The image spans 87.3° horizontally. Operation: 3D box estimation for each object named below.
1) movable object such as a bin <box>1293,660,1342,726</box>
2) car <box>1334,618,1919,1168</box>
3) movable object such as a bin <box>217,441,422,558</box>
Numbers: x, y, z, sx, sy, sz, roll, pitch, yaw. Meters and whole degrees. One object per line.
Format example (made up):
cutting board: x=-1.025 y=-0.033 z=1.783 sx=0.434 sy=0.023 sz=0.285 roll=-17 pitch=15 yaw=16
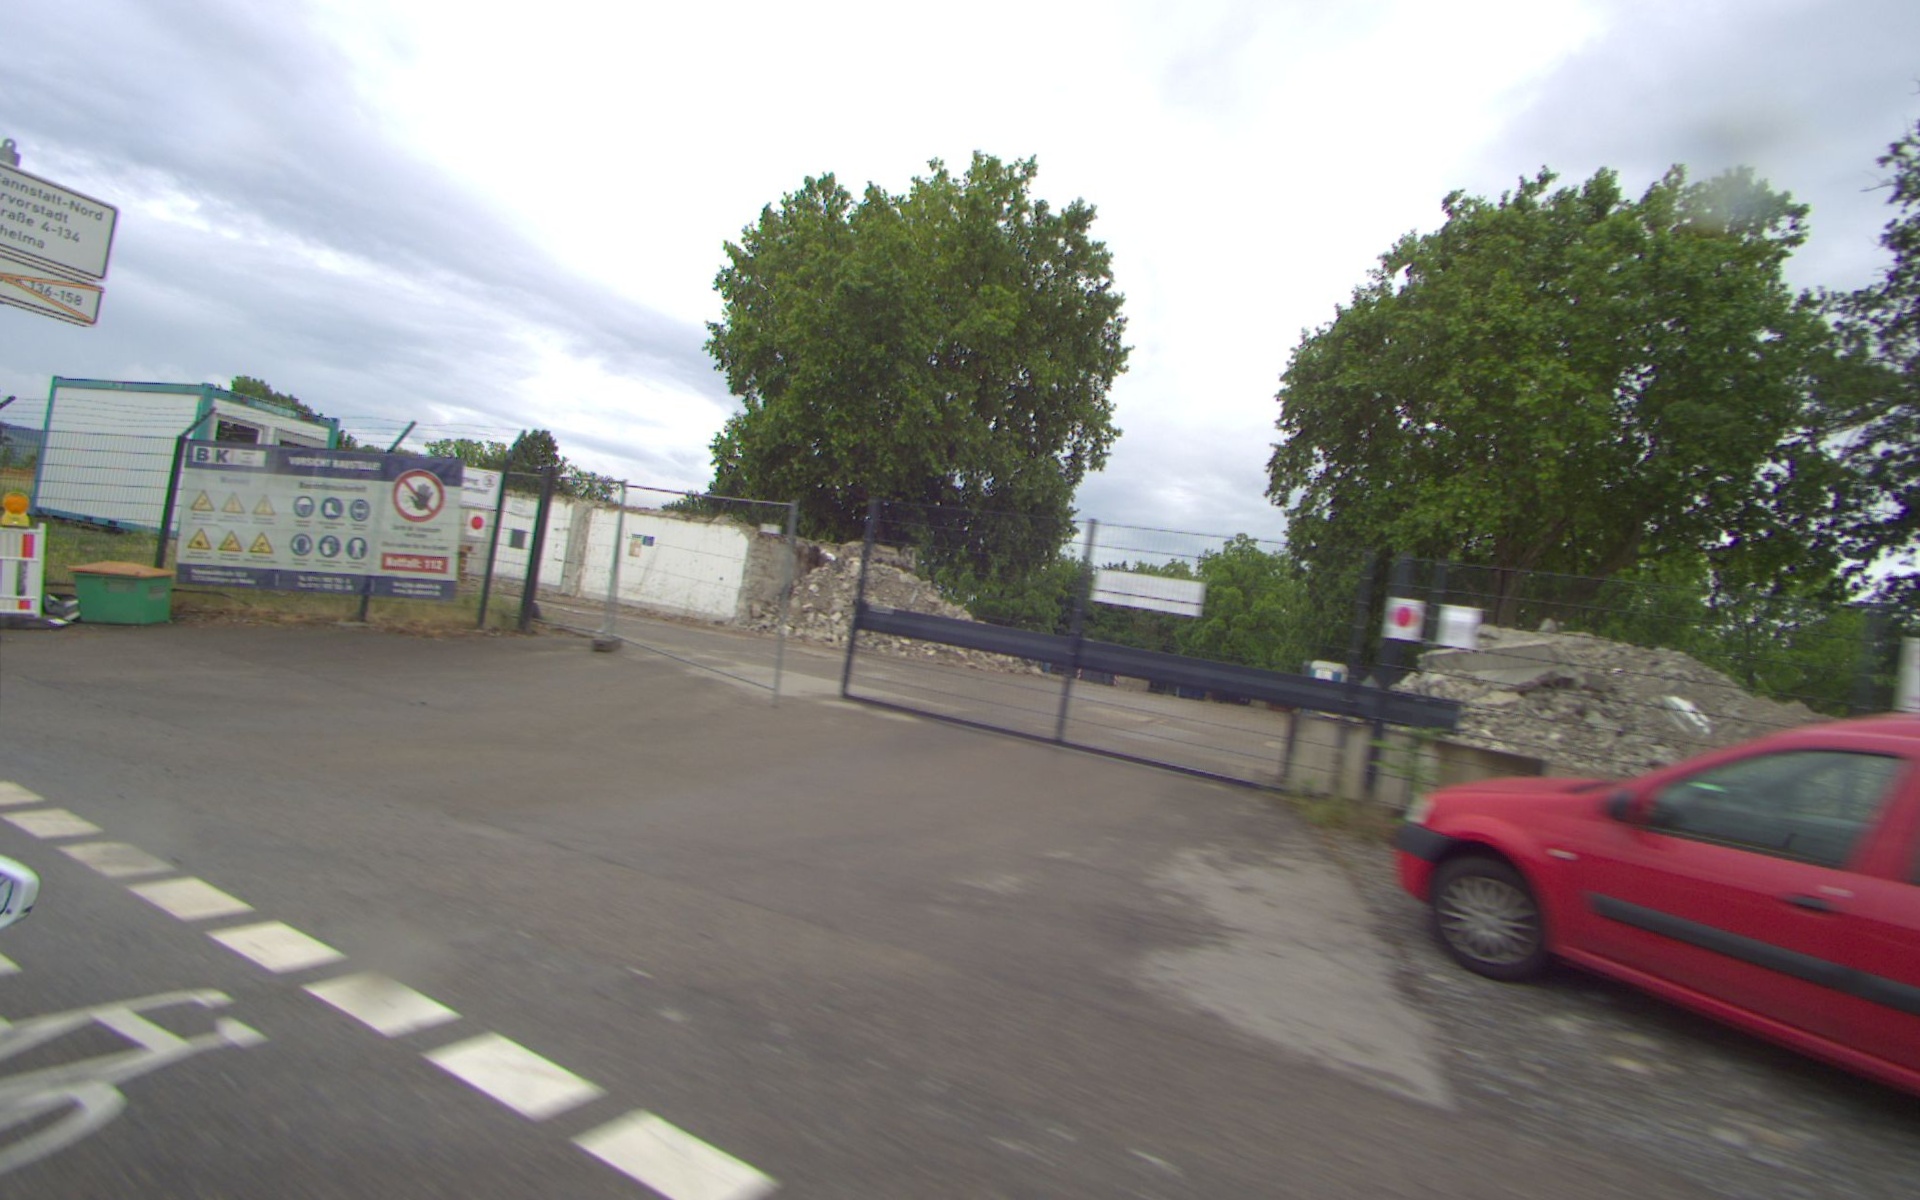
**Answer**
movable object such as a bin: x=13.380 y=3.496 z=37.630 sx=1.094 sy=2.278 sz=1.378 roll=6 pitch=-2 yaw=41
car: x=4.085 y=1.209 z=4.266 sx=1.807 sy=1.814 sz=4.376 roll=9 pitch=-2 yaw=-30
movable object such as a bin: x=-44.970 y=-6.875 z=71.212 sx=3.438 sy=6.063 sz=11.240 roll=6 pitch=-2 yaw=36
